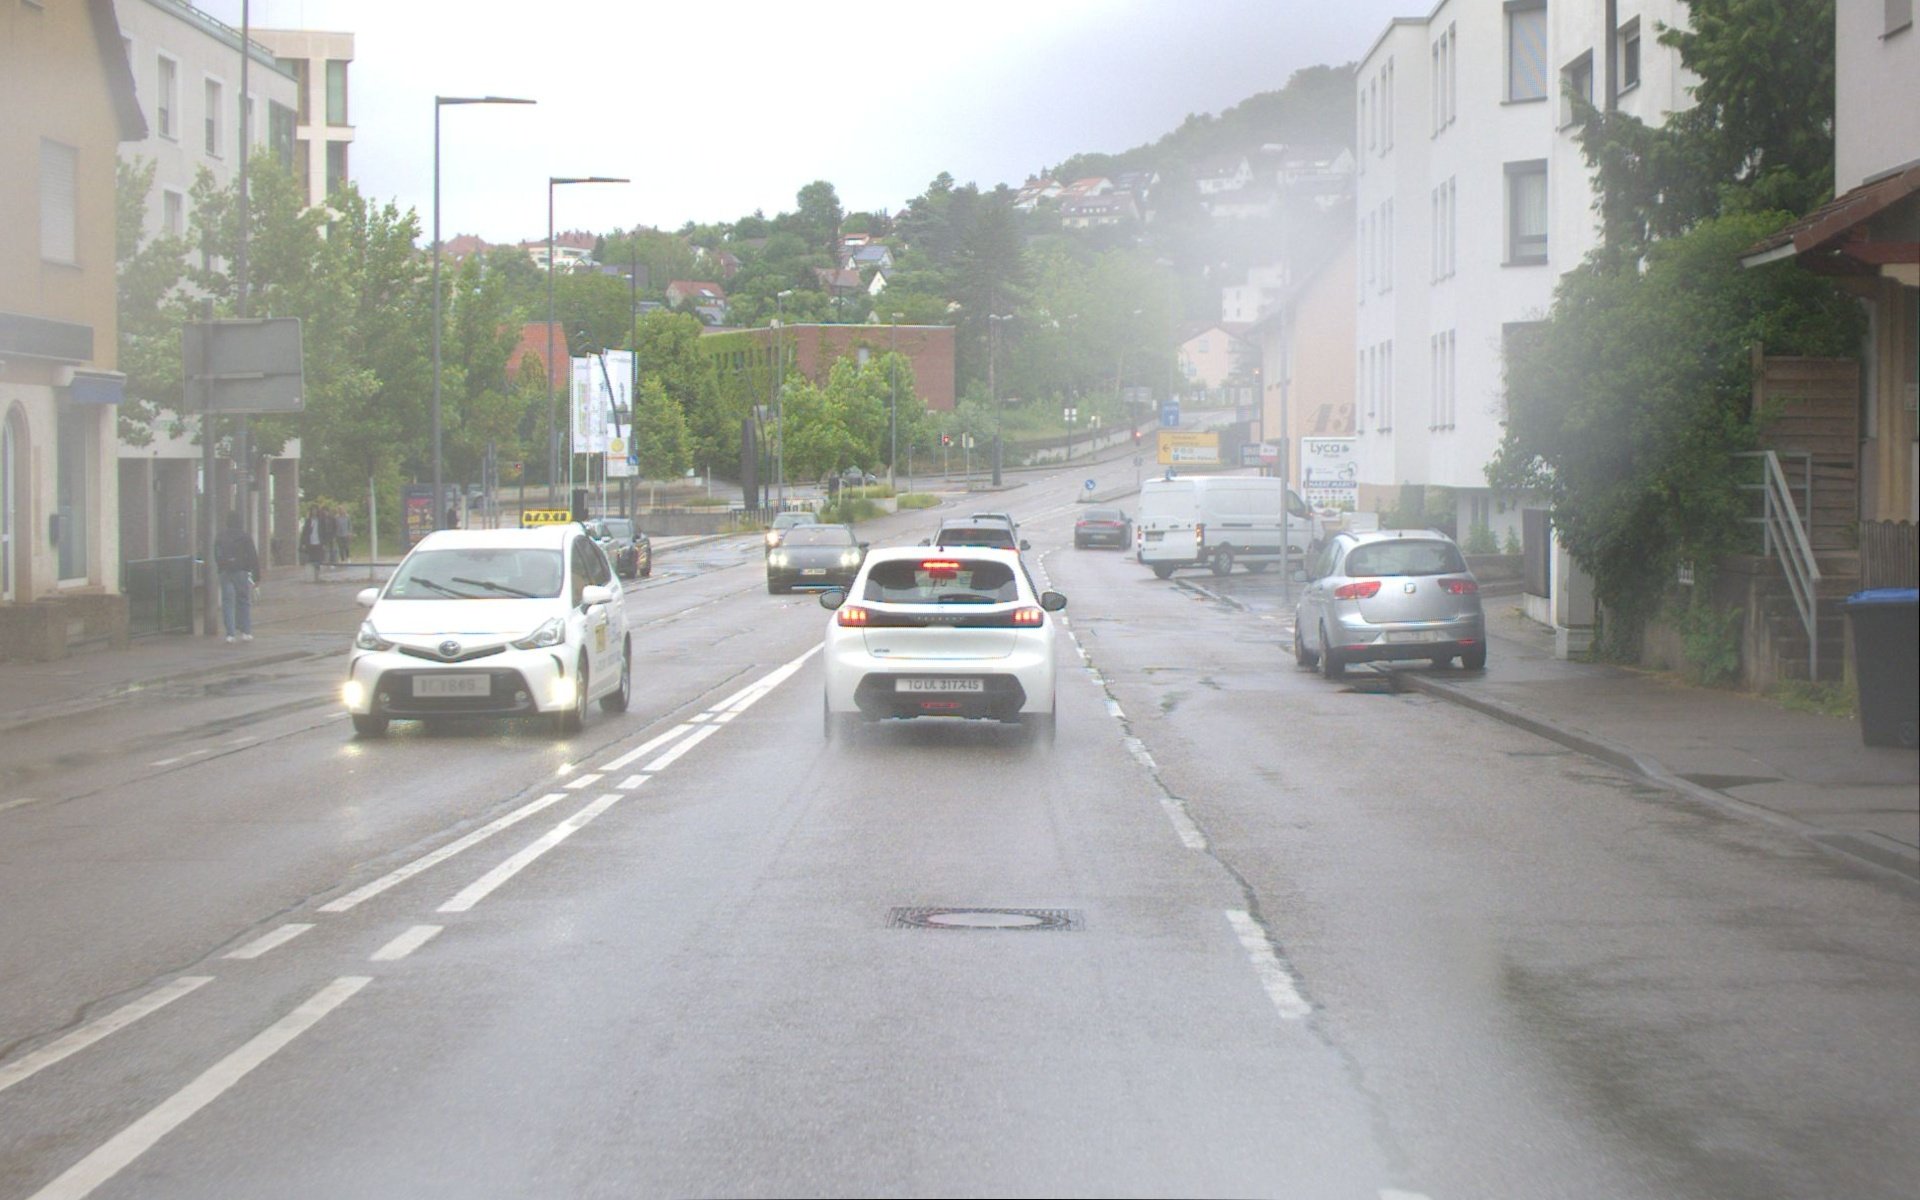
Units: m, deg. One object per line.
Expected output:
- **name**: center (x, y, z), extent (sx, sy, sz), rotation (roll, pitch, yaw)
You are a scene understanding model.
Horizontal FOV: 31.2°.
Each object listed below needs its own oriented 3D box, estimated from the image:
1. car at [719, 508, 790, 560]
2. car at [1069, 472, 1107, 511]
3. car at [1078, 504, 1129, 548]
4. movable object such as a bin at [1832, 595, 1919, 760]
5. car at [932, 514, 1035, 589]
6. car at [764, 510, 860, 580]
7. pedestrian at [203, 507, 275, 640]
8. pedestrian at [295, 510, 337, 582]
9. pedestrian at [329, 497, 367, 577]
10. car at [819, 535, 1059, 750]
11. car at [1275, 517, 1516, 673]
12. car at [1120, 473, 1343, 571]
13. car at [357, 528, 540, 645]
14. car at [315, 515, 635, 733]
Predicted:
- **car**: center (-6.398, -2.041, 107.200), extent (1.880, 1.518, 4.184), rotation (-1, 0, 1)
- **car**: center (6.952, -5.903, 187.363), extent (1.993, 2.007, 4.000), rotation (-1, 0, 1)
- **car**: center (5.298, -2.763, 127.310), extent (1.734, 1.383, 3.353), rotation (1, 5, 0)
- **movable object such as a bin**: center (6.278, 0.511, 23.184), extent (0.575, 1.044, 0.830), rotation (-1, 2, 1)
- **car**: center (0.398, -0.889, 61.880), extent (1.741, 1.291, 3.334), rotation (-1, 1, -1)
- **car**: center (-3.068, -1.132, 71.999), extent (1.768, 1.409, 4.526), rotation (-1, 0, 0)
- **pedestrian**: center (-9.764, -0.355, 46.570), extent (0.800, 1.782, 0.882), rotation (-1, 0, -3)
- **pedestrian**: center (-15.501, -1.293, 82.735), extent (0.808, 1.732, 1.003), rotation (-1, 0, 0)
- **pedestrian**: center (-16.616, -1.711, 93.369), extent (0.748, 2.138, 0.770), rotation (1, 0, 14)
- **car**: center (-0.201, 0.295, 26.276), extent (1.691, 1.514, 3.933), rotation (0, 0, -2)
- **car**: center (4.758, -0.027, 38.173), extent (2.011, 1.616, 4.361), rotation (1, -1, -1)
- **car**: center (6.956, -1.948, 87.306), extent (2.296, 2.374, 6.610), rotation (0, 0, 39)
- **car**: center (-6.725, -0.182, 45.553), extent (1.649, 1.413, 4.138), rotation (-3, 0, 2)
- **car**: center (-3.811, 0.163, 27.777), extent (1.878, 1.603, 4.719), rotation (0, 0, 0)
